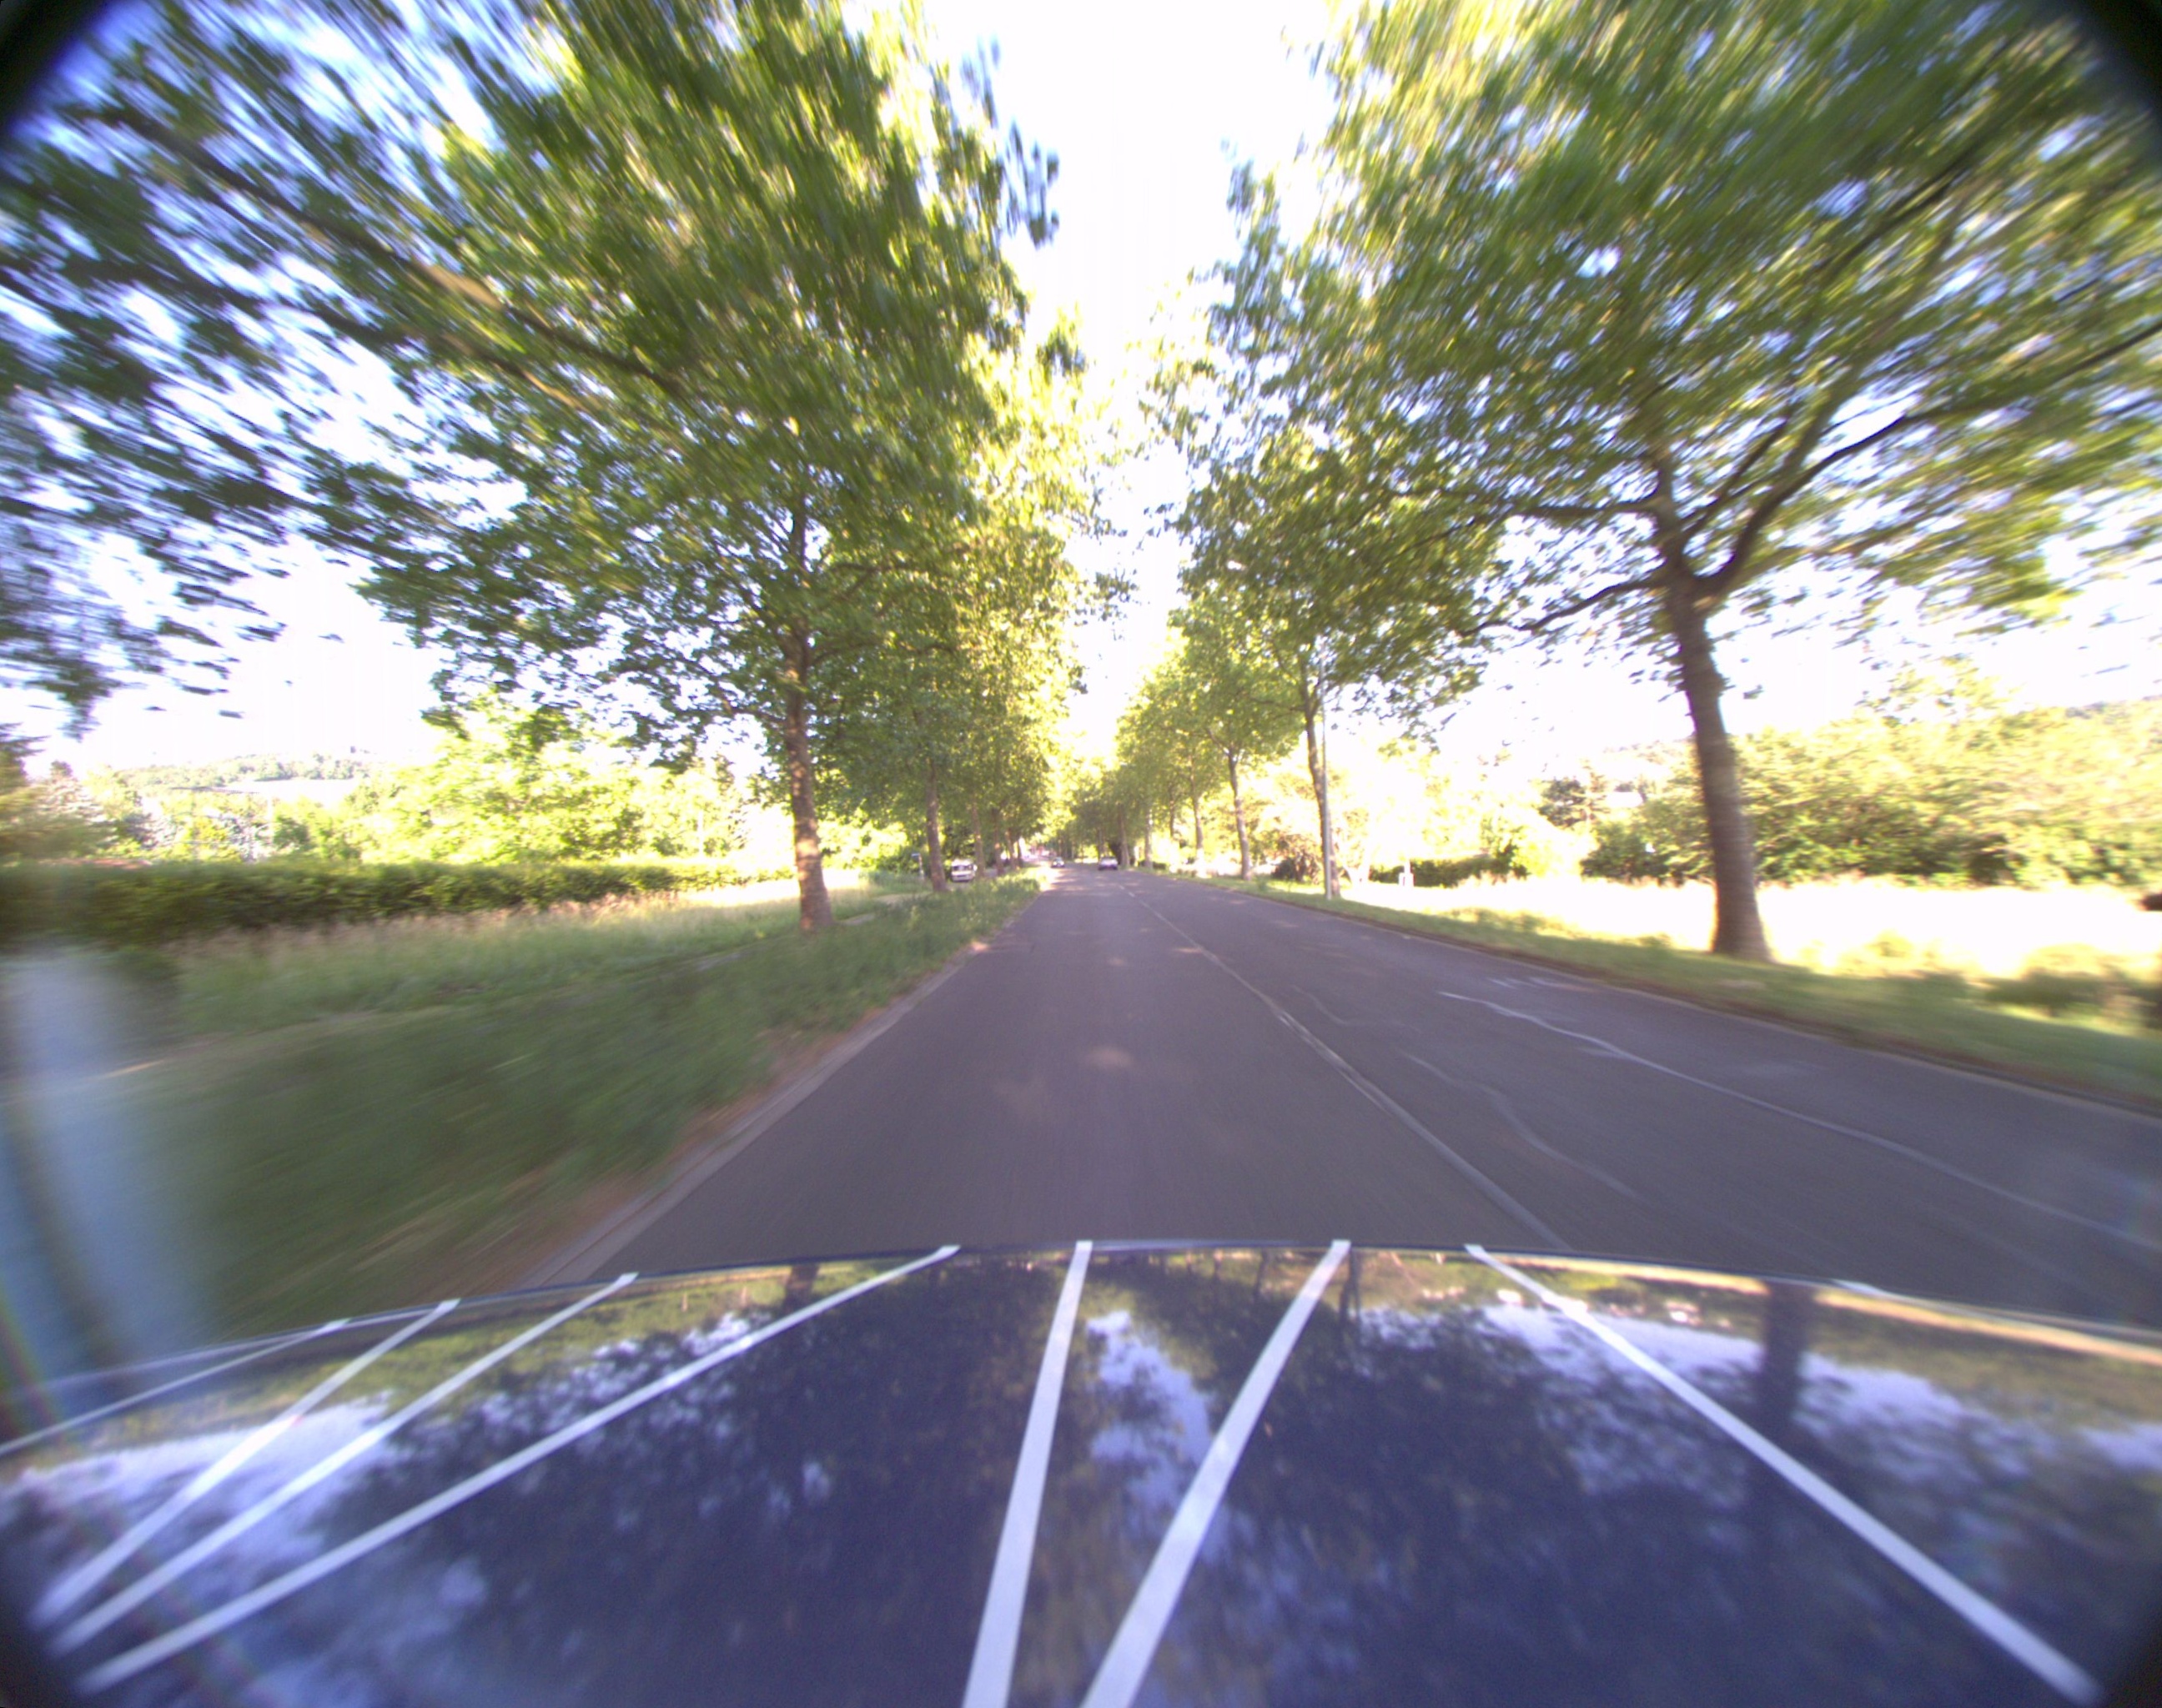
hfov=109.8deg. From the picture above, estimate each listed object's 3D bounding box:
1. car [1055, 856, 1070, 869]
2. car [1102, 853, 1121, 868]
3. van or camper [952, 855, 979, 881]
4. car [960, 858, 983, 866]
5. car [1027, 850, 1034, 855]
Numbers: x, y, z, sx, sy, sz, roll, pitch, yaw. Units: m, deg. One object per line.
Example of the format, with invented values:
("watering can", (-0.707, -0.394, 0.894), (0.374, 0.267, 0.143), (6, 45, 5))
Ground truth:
("car", (-2.752, 1.192, 110.405), (1.999, 1.655, 3.998), (-3, 1, -3))
("car", (3.137, 0.663, 79.350), (1.720, 1.496, 3.999), (-3, 1, -1))
("van or camper", (-13.524, 1.569, 89.123), (2.387, 2.784, 5.683), (-3, 1, -3))
("car", (-21.073, 1.535, 145.852), (3.996, 1.378, 2.000), (-3, 1, 3))
("car", (-16.051, -0.342, 241.617), (1.870, 1.421, 3.999), (4, 1, -2))
